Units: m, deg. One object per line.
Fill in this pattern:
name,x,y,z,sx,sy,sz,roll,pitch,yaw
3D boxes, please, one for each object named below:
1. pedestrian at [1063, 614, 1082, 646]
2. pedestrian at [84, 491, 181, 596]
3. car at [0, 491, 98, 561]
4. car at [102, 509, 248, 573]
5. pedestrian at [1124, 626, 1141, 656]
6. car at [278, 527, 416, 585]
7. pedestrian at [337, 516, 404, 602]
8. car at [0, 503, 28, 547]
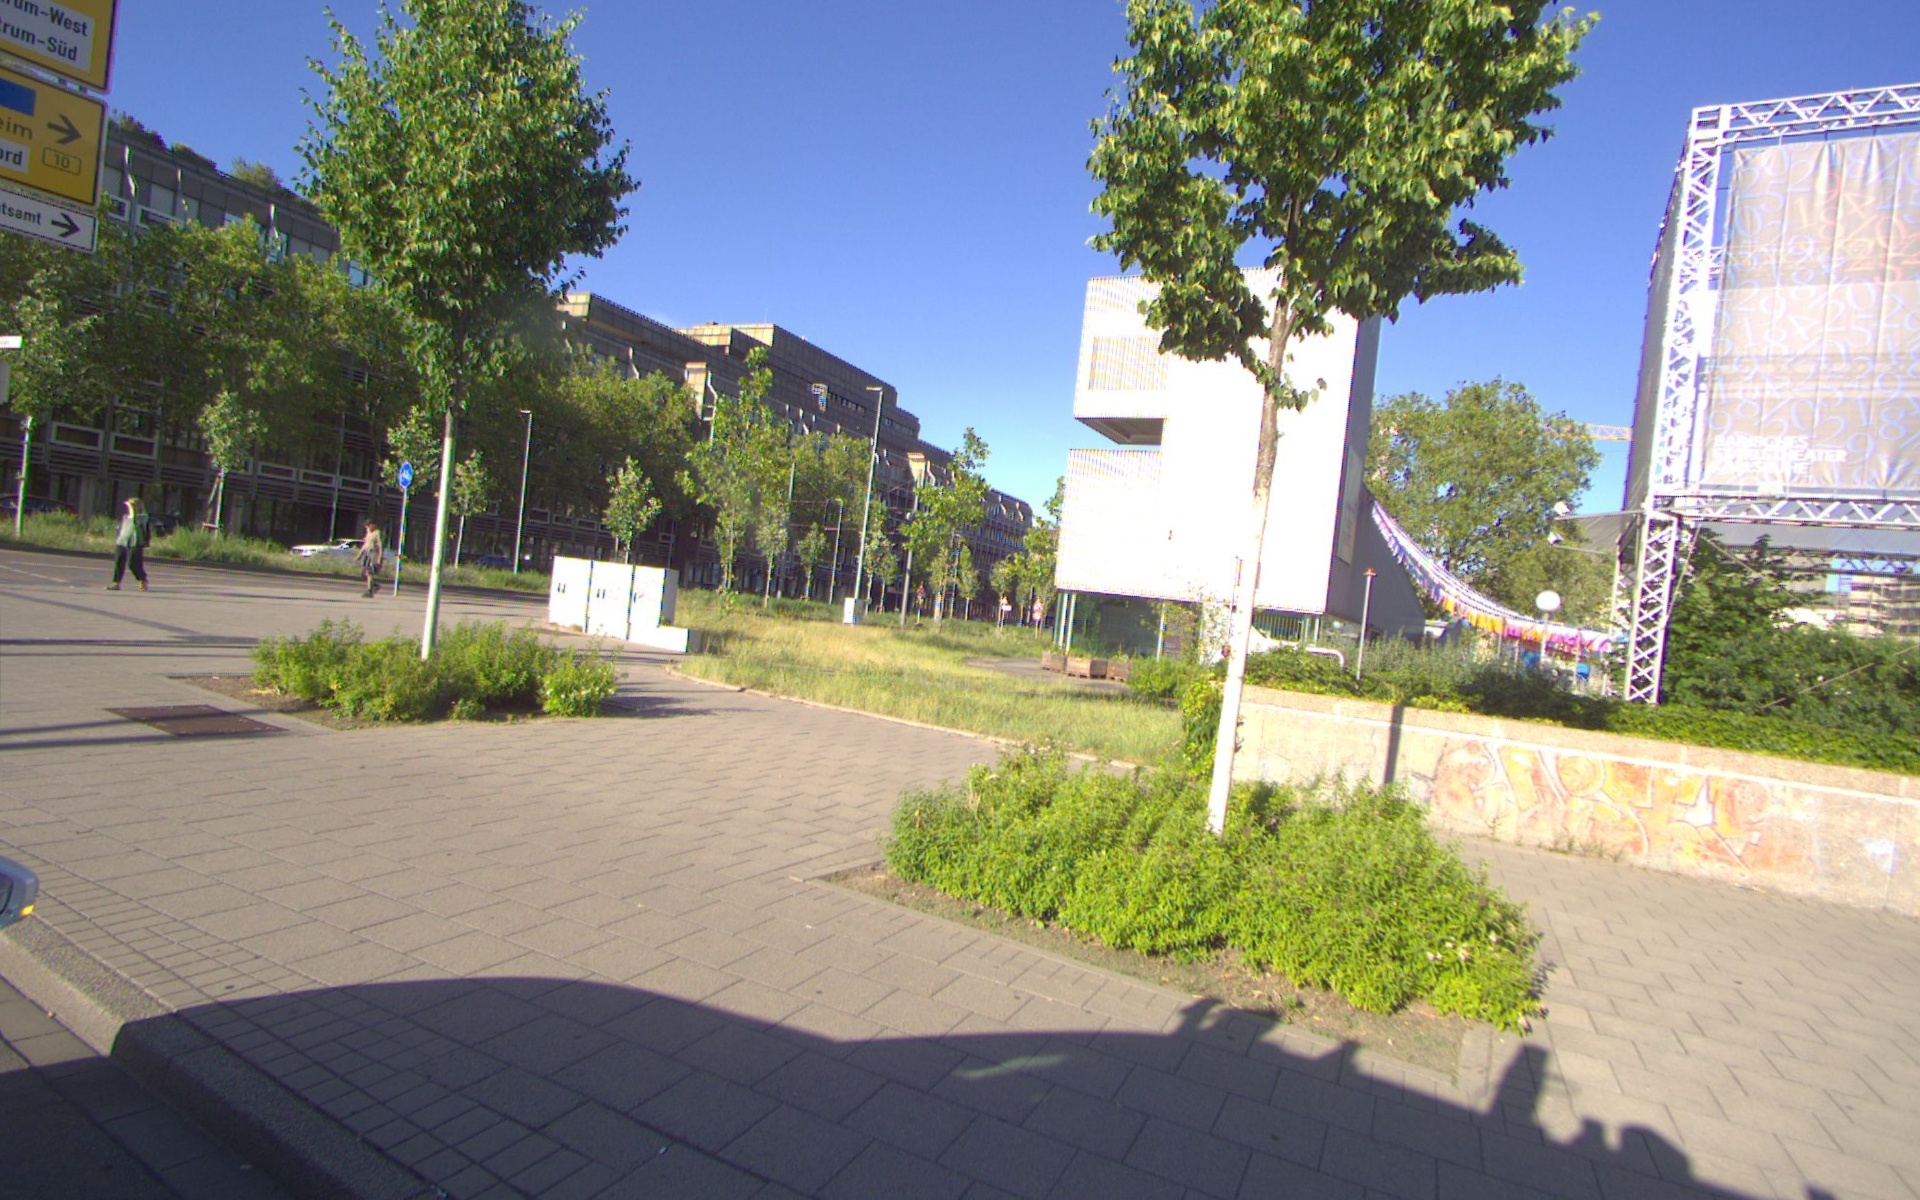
pedestrian,6.414,1.710,57.338,0.642,1.750,0.694,7,1,31
pedestrian,-14.241,-0.952,17.320,0.925,1.650,0.803,7,1,18
car,-33.320,-2.708,35.371,1.966,2.036,3.997,6,-2,29
car,-34.118,-2.525,43.879,1.965,2.036,4.458,7,-2,27
pedestrian,10.424,2.462,60.913,0.772,1.750,0.625,7,1,7
car,-30.682,-2.177,50.582,2.062,2.036,5.455,6,-2,29
pedestrian,-12.964,-0.891,22.139,0.925,1.750,0.695,7,1,18
car,-37.250,-3.040,36.942,1.836,1.525,3.997,7,-2,29
